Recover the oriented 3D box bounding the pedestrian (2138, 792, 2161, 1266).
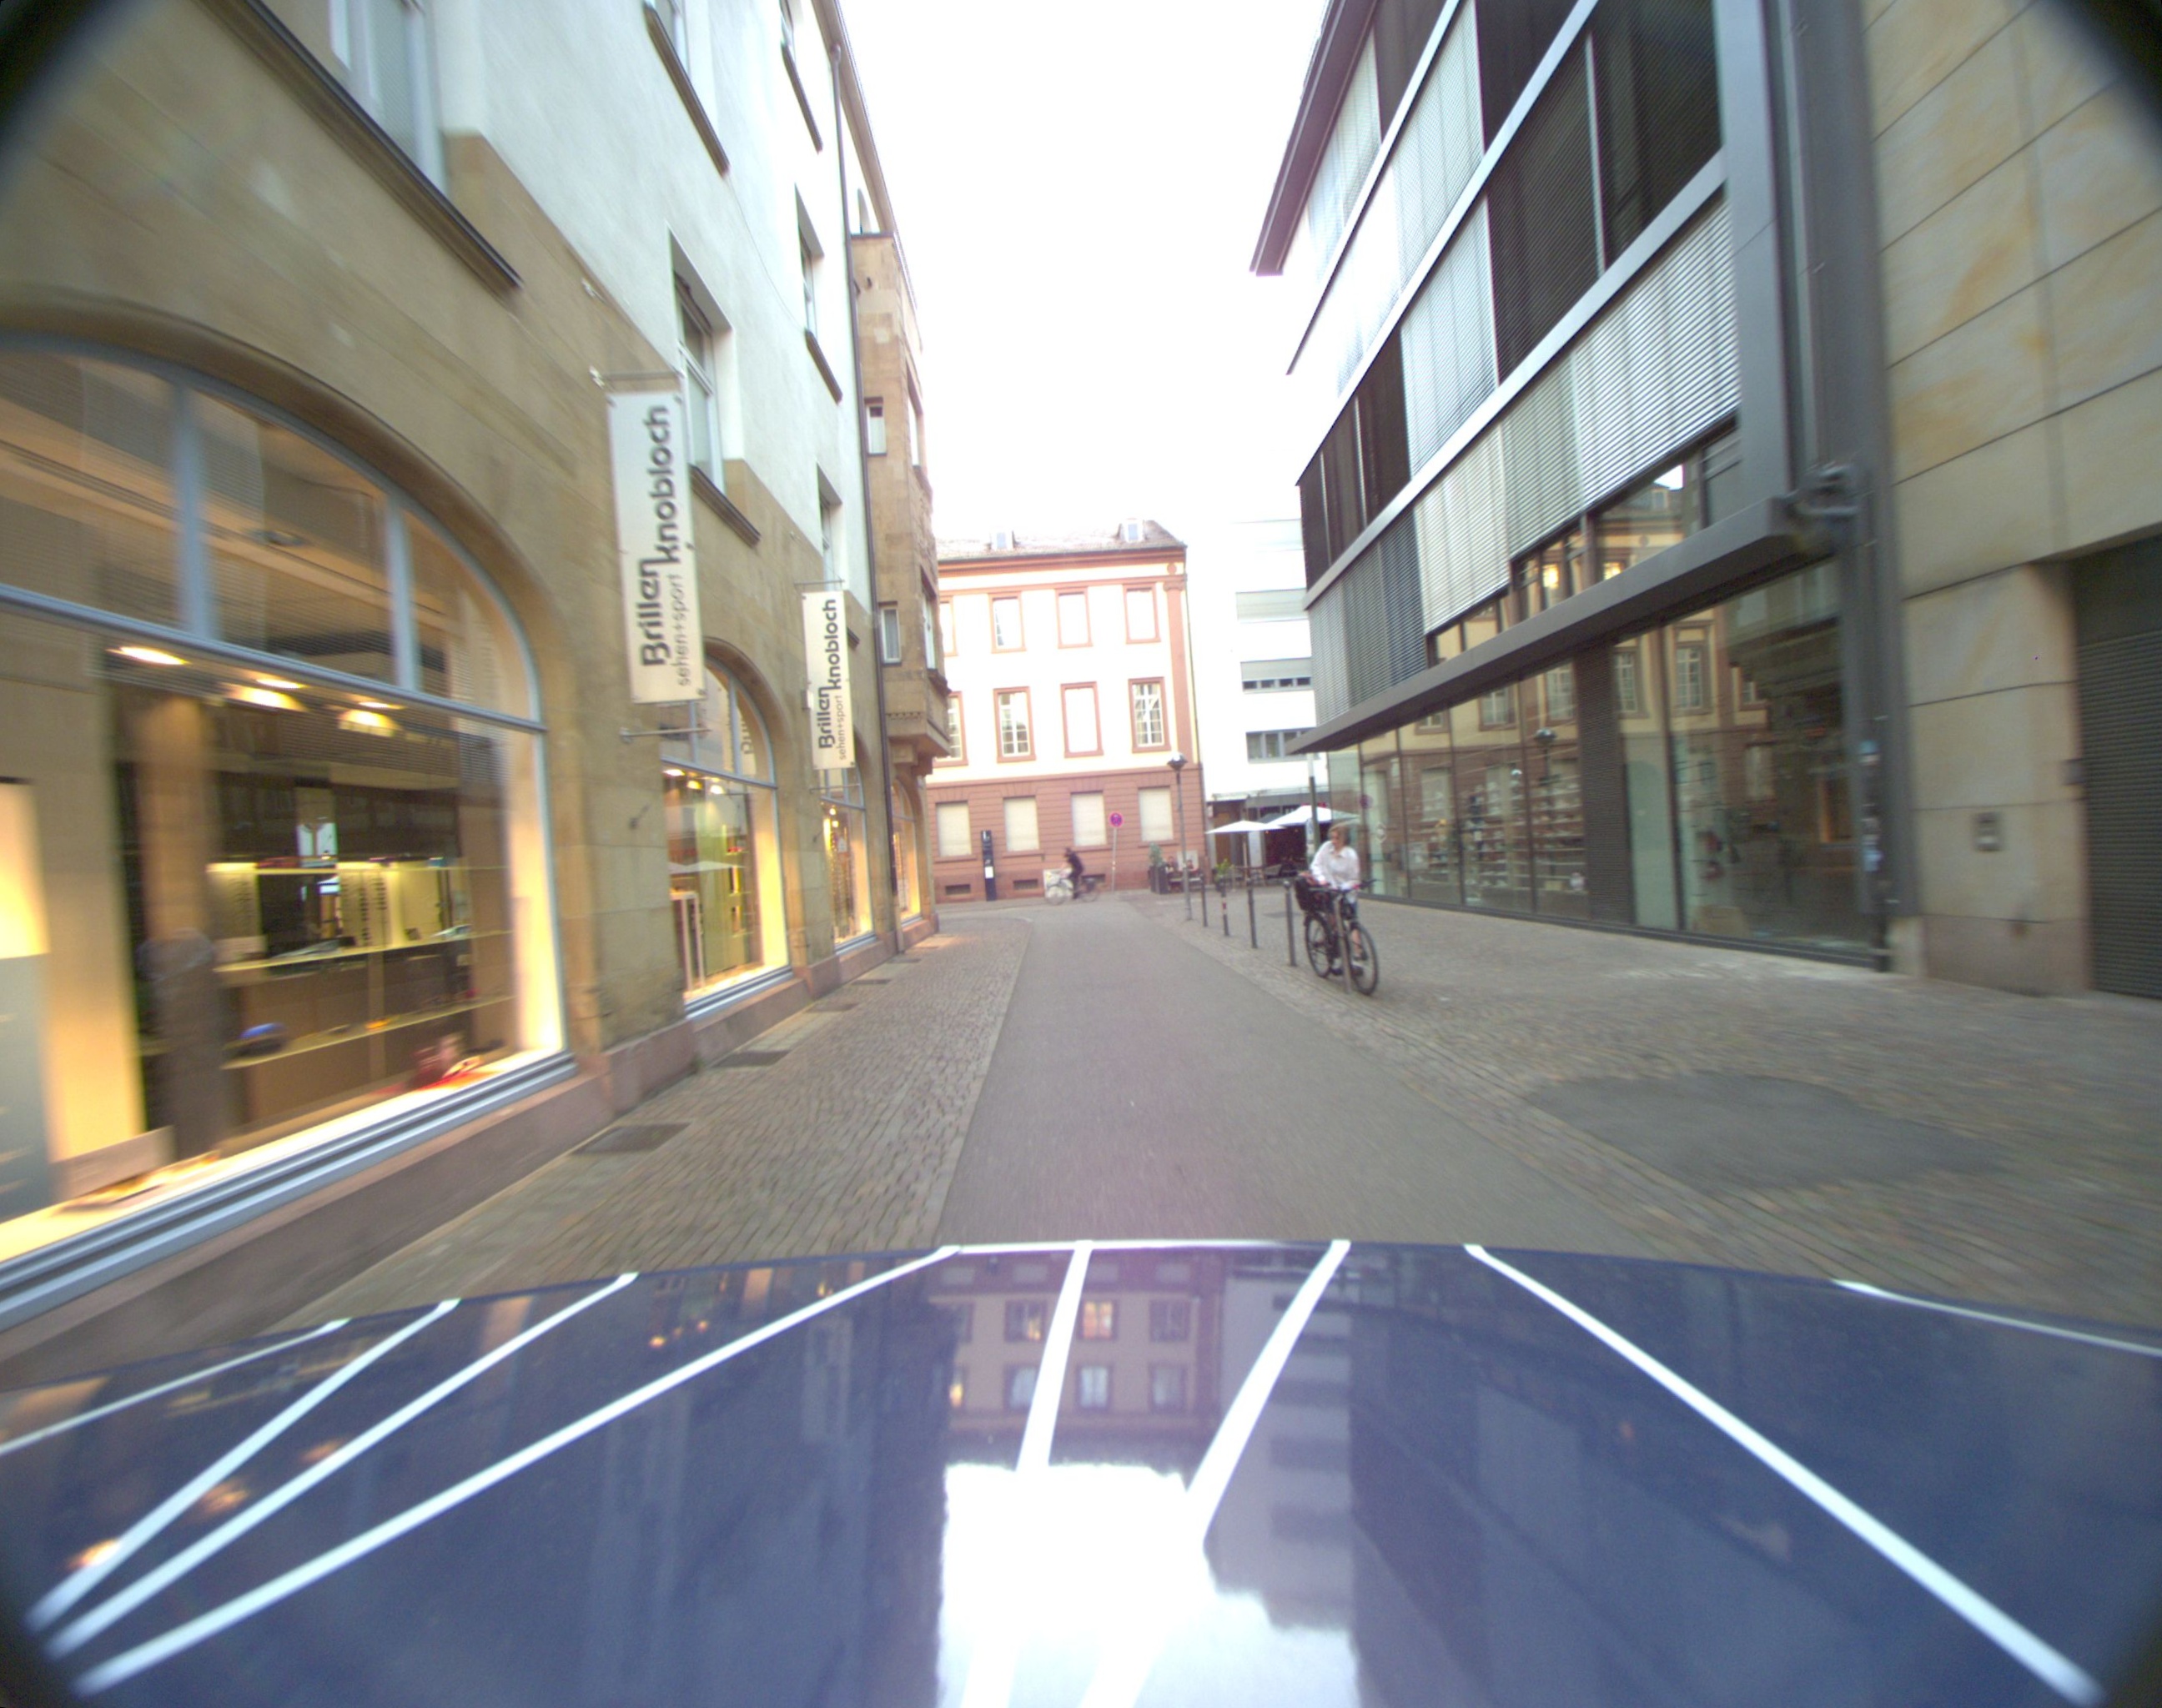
[{"bbox_3d":[3.432,0.659,1.762,0.810,1.719,0.947,-4,1,-23],"label":"pedestrian"}]

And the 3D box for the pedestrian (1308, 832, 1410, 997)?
[{"bbox_3d":[3.122,0.654,8.548,0.771,1.708,0.590,-6,1,-34],"label":"pedestrian"}]

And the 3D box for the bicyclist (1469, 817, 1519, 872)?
[{"bbox_3d":[13.911,-0.320,25.630,1.282,1.718,0.895,-4,1,20],"label":"bicyclist"}]

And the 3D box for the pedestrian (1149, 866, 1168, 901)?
[{"bbox_3d":[2.788,1.069,27.333,0.562,1.204,0.461,-4,1,-1],"label":"pedestrian"}]

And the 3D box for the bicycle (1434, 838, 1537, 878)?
[{"bbox_3d":[13.650,0.126,25.762,2.949,1.162,0.895,-4,1,20],"label":"bicycle"}]

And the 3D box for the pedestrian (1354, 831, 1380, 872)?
[{"bbox_3d":[11.797,-0.107,31.378,0.671,1.655,0.623,-3,0,-30],"label":"pedestrian"}]

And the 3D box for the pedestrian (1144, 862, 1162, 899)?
[{"bbox_3d":[2.716,1.000,28.747,0.549,1.341,0.489,-4,1,-1],"label":"pedestrian"}]

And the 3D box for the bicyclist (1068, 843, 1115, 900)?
[{"bbox_3d":[0.355,0.577,25.881,1.469,1.807,0.923,-4,0,-1],"label":"bicyclist"}]

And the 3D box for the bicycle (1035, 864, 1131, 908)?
[{"bbox_3d":[0.055,1.070,25.881,3.155,1.252,0.923,-4,0,-1],"label":"bicycle"}]

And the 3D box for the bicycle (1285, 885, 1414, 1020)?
[{"bbox_3d":[2.798,0.974,8.144,0.534,1.147,1.914,-6,0,-2],"label":"bicycle"}]

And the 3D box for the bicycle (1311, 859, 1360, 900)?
[{"bbox_3d":[7.421,0.728,22.203,0.709,1.106,1.673,-4,-1,-4],"label":"bicycle"}]

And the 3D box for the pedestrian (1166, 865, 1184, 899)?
[{"bbox_3d":[3.564,1.050,28.744,0.549,1.204,0.524,-4,1,-1],"label":"pedestrian"}]

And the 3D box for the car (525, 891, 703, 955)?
[{"bbox_3d":[-13.355,1.955,21.891,3.997,1.434,1.650,-4,0,-1],"label":"car"}]
